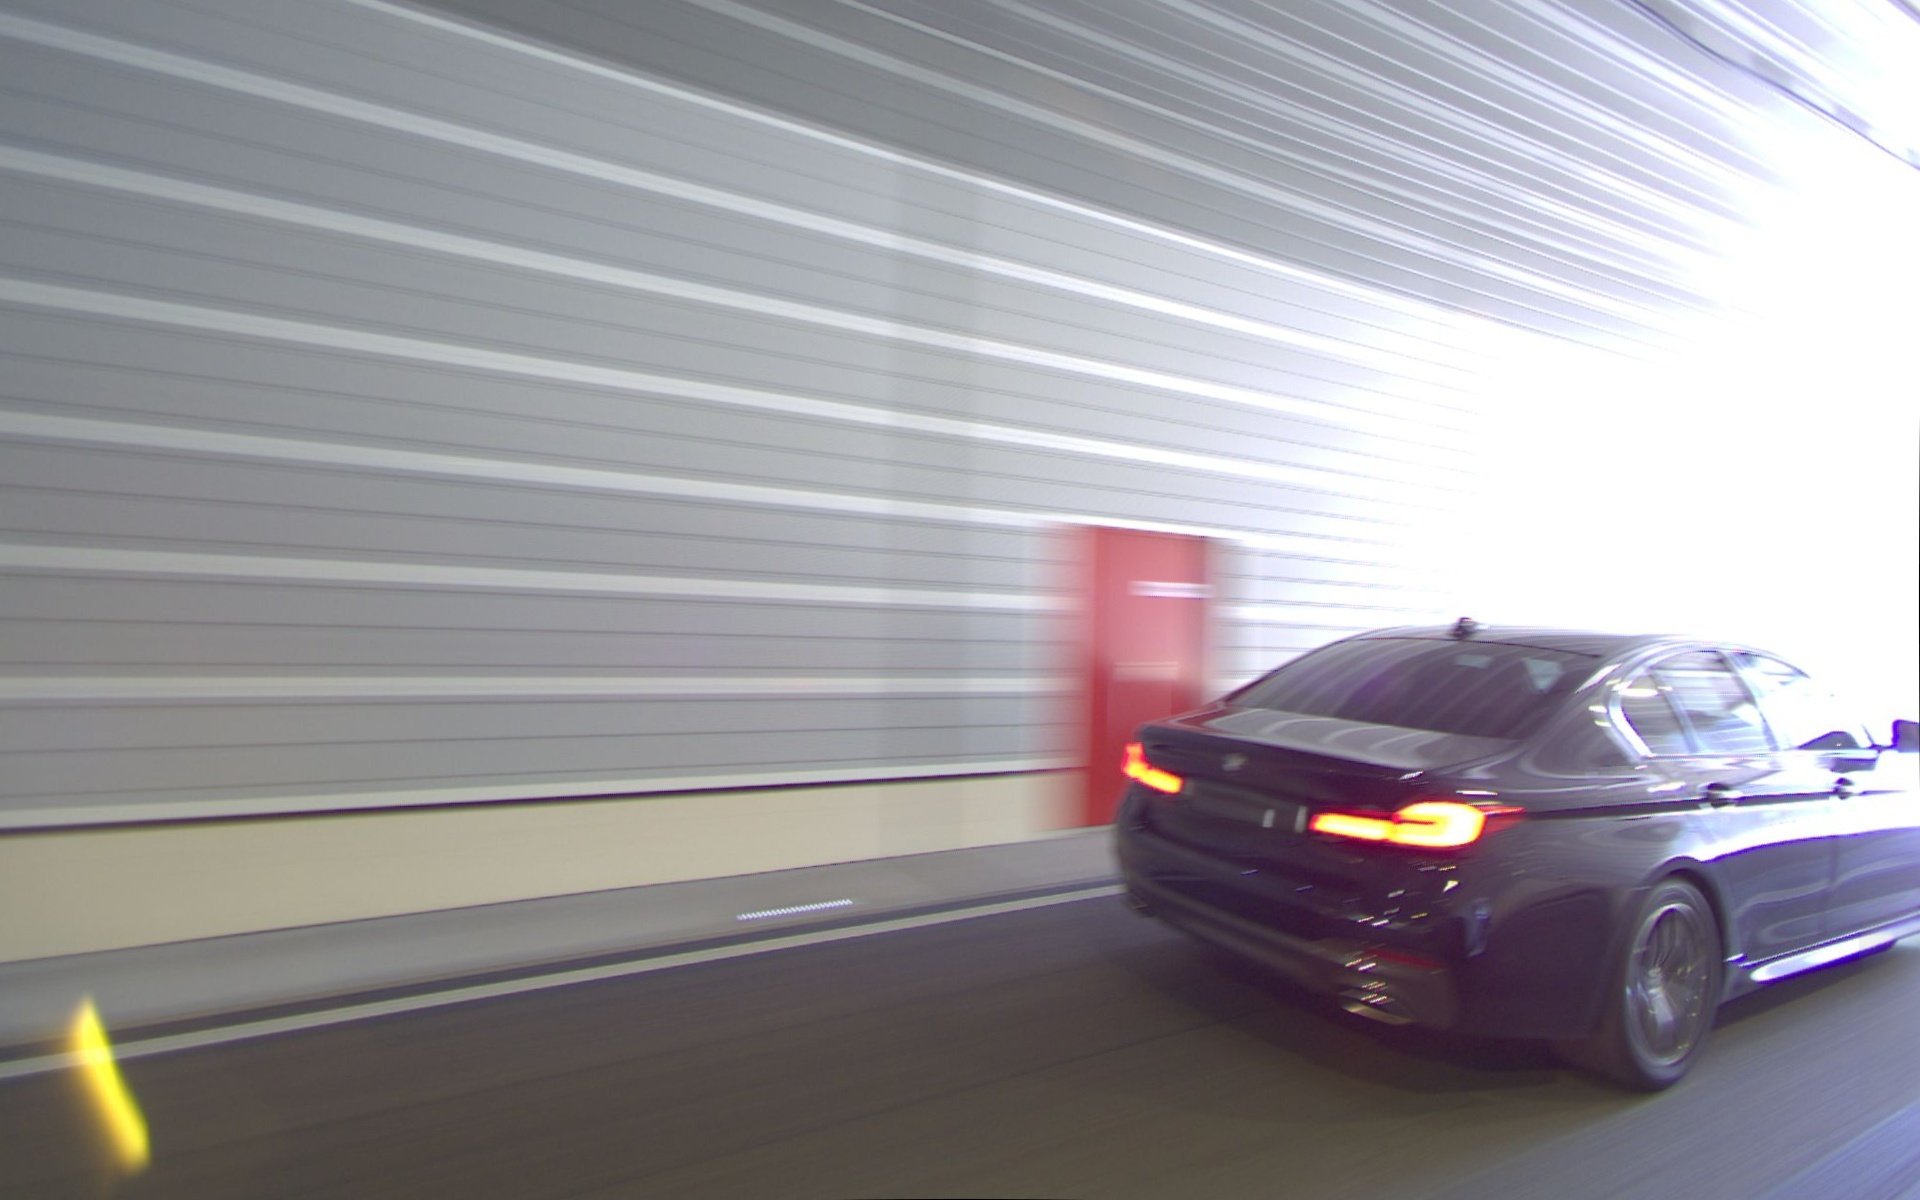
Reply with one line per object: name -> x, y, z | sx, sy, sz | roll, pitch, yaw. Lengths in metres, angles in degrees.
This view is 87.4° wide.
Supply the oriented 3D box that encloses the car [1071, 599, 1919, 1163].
car -> 3.058, 0.798, 4.622 | 4.942, 1.458, 1.800 | 2, 0, -29
